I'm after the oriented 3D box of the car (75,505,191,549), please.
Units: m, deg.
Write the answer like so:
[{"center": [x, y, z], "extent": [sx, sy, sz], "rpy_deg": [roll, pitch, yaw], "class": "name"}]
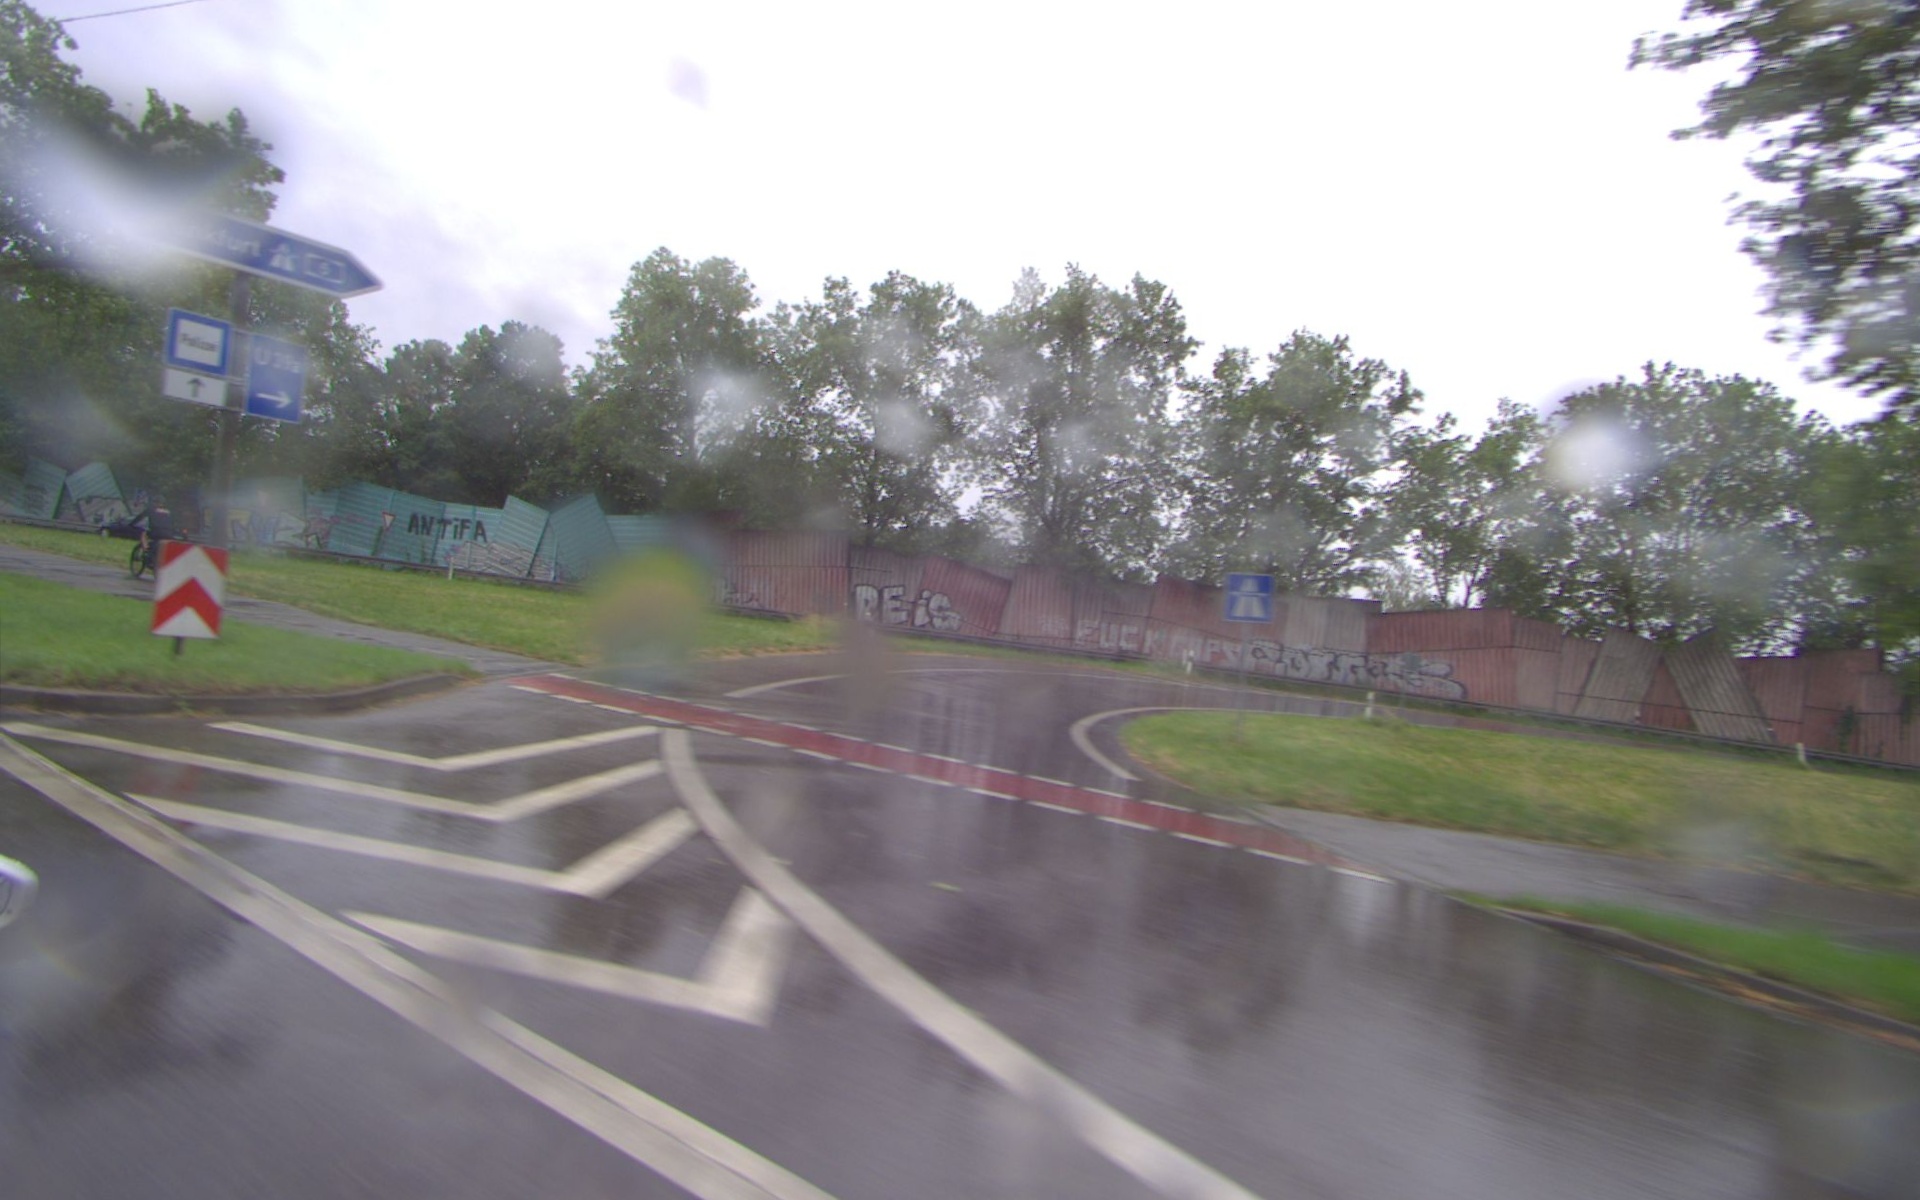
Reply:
[{"center": [-41.730, -3.663, 50.791], "extent": [4.431, 1.555, 1.870], "rpy_deg": [7, 0, 7], "class": "car"}]
